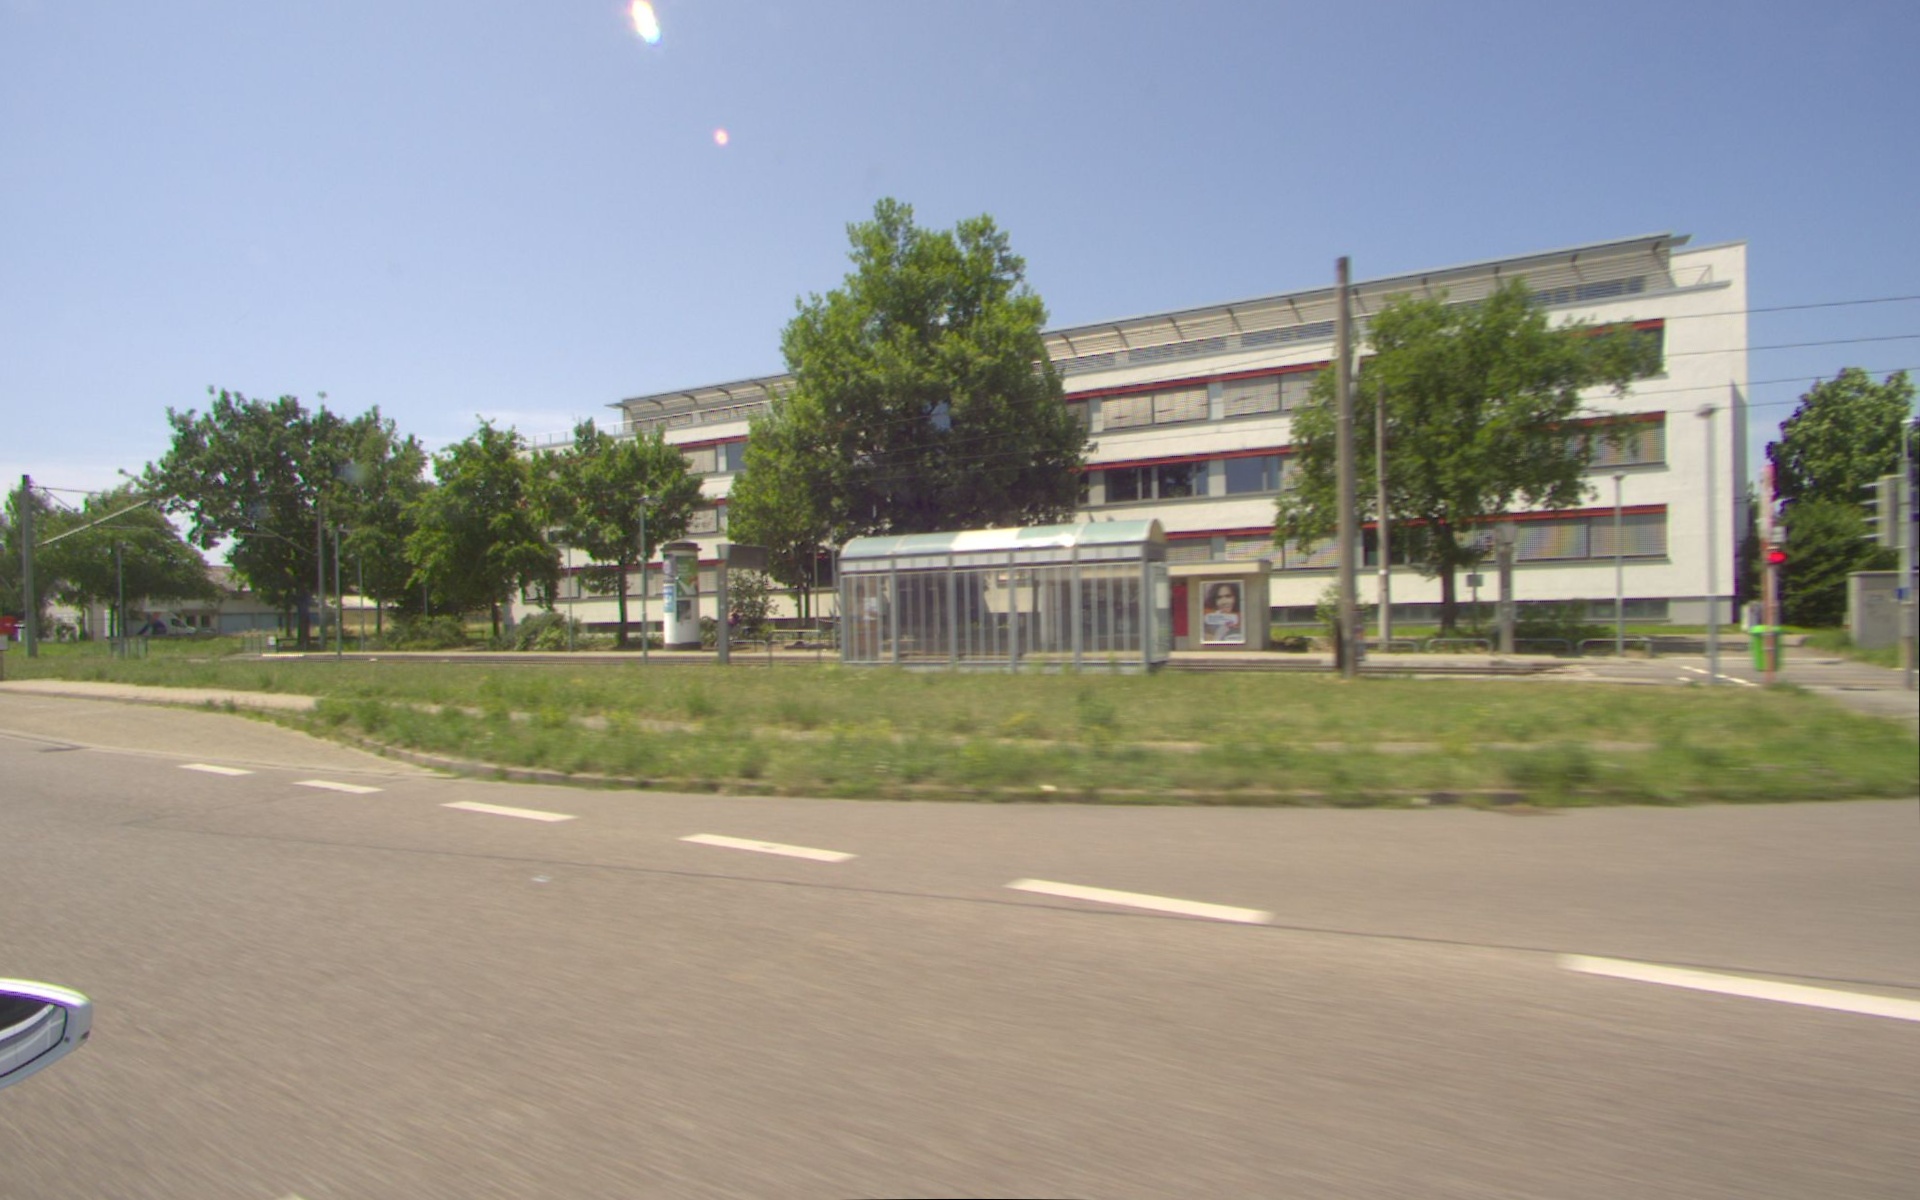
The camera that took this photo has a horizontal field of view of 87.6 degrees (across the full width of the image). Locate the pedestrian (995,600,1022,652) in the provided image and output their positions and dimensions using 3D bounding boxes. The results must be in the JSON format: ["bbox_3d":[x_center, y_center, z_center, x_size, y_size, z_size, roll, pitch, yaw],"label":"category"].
[{"bbox_3d":[1.564,0.840,32.283,0.681,1.628,0.551,-2,-2,34],"label":"pedestrian"}]

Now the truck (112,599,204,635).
[{"bbox_3d":[-69.890,1.464,87.377,2.283,2.881,5.838,-2,0,25],"label":"truck"}]

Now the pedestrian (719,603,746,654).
[{"bbox_3d":[-8.406,1.046,36.971,0.699,1.865,0.695,-1,-2,18],"label":"pedestrian"}]
